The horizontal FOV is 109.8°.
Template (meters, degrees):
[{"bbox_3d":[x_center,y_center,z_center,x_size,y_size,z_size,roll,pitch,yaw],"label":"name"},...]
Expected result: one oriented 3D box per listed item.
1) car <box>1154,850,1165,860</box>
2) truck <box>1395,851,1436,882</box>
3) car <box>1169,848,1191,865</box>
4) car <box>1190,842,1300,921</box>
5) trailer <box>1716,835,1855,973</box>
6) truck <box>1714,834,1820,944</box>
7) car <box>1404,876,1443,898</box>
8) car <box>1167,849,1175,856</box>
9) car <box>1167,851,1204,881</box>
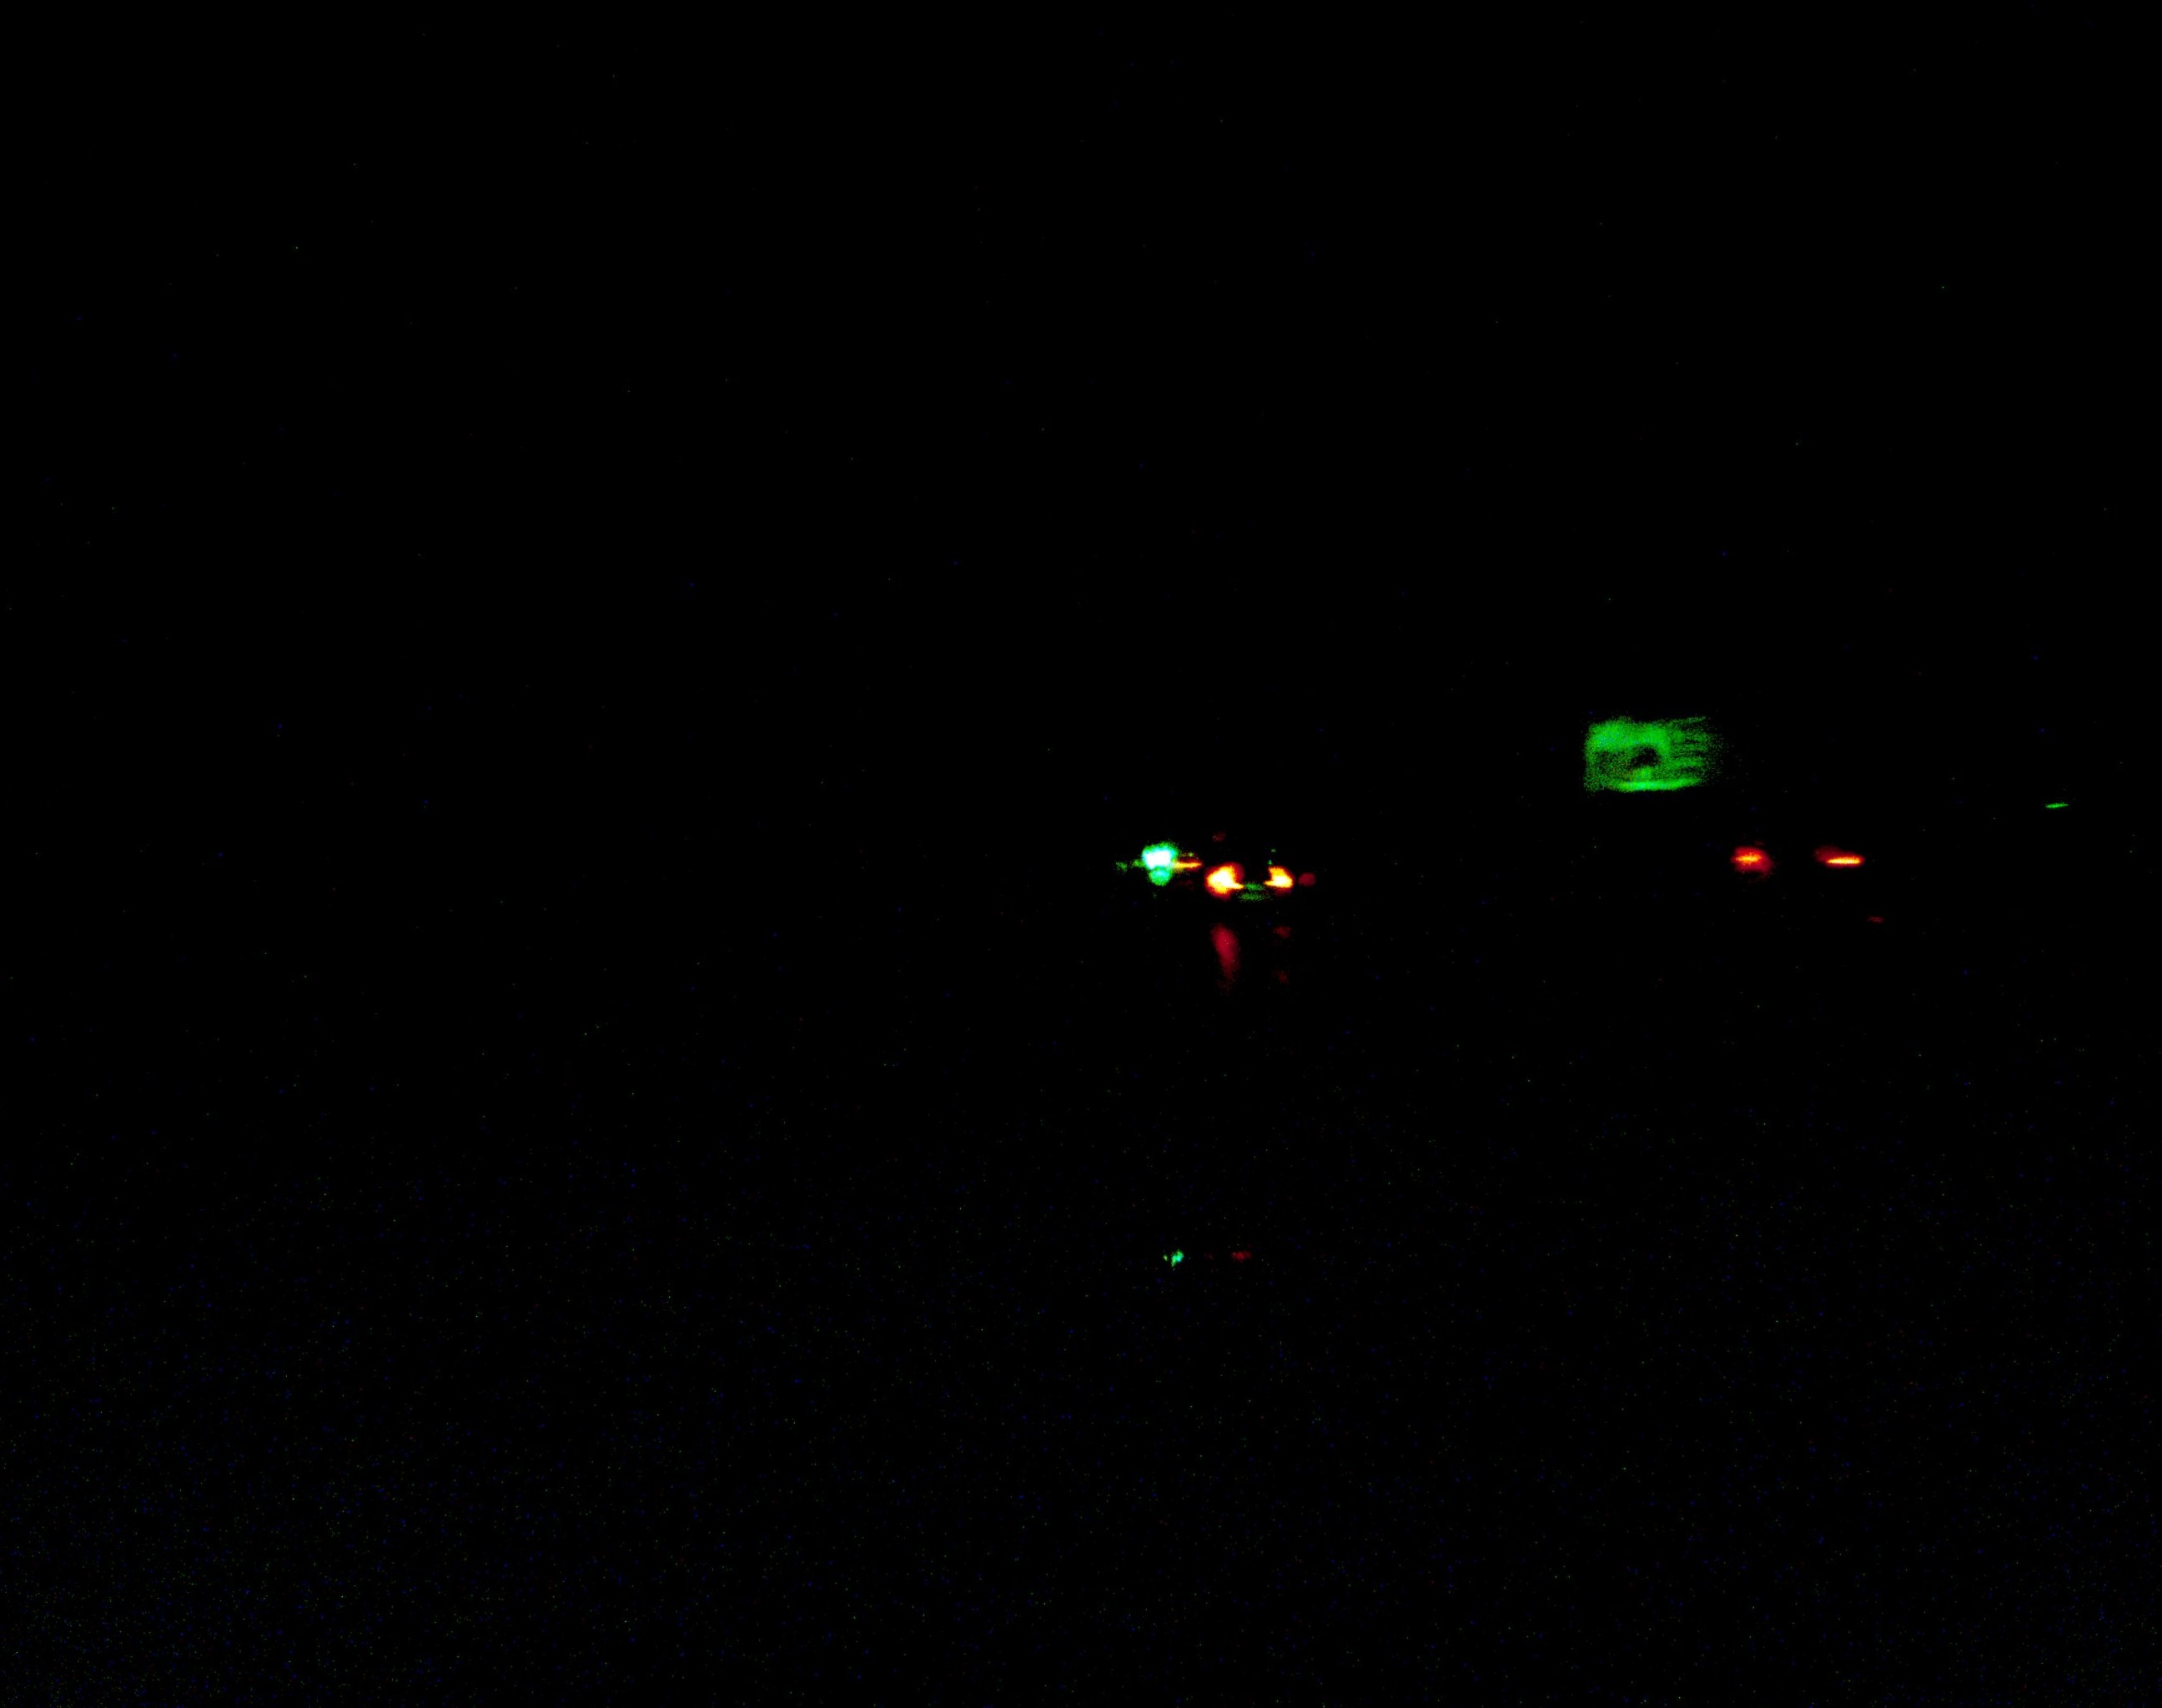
[{"bbox_3d":[13.496,0.177,130.699,1.823,1.565,4.108,-1,1,7],"label":"car"},{"bbox_3d":[39.564,1.378,90.163,2.760,3.463,8.112,-1,0,12],"label":"truck"},{"bbox_3d":[8.814,0.189,67.949,1.789,1.470,3.681,-1,1,4],"label":"car"},{"bbox_3d":[4.110,0.610,19.862,1.998,1.795,4.596,-1,1,2],"label":"car"},{"bbox_3d":[29.096,1.641,31.925,3.328,4.768,11.578,-1,1,38],"label":"trailer"},{"bbox_3d":[33.261,1.481,37.123,3.328,4.768,7.333,-1,1,38],"label":"truck"},{"bbox_3d":[29.642,2.824,65.861,1.812,1.666,4.294,-1,1,6],"label":"car"},{"bbox_3d":[21.359,-0.291,180.224,1.782,1.565,4.002,-1,1,10],"label":"car"},{"bbox_3d":[6.155,0.670,45.309,1.812,1.666,4.293,-1,1,3],"label":"car"}]
